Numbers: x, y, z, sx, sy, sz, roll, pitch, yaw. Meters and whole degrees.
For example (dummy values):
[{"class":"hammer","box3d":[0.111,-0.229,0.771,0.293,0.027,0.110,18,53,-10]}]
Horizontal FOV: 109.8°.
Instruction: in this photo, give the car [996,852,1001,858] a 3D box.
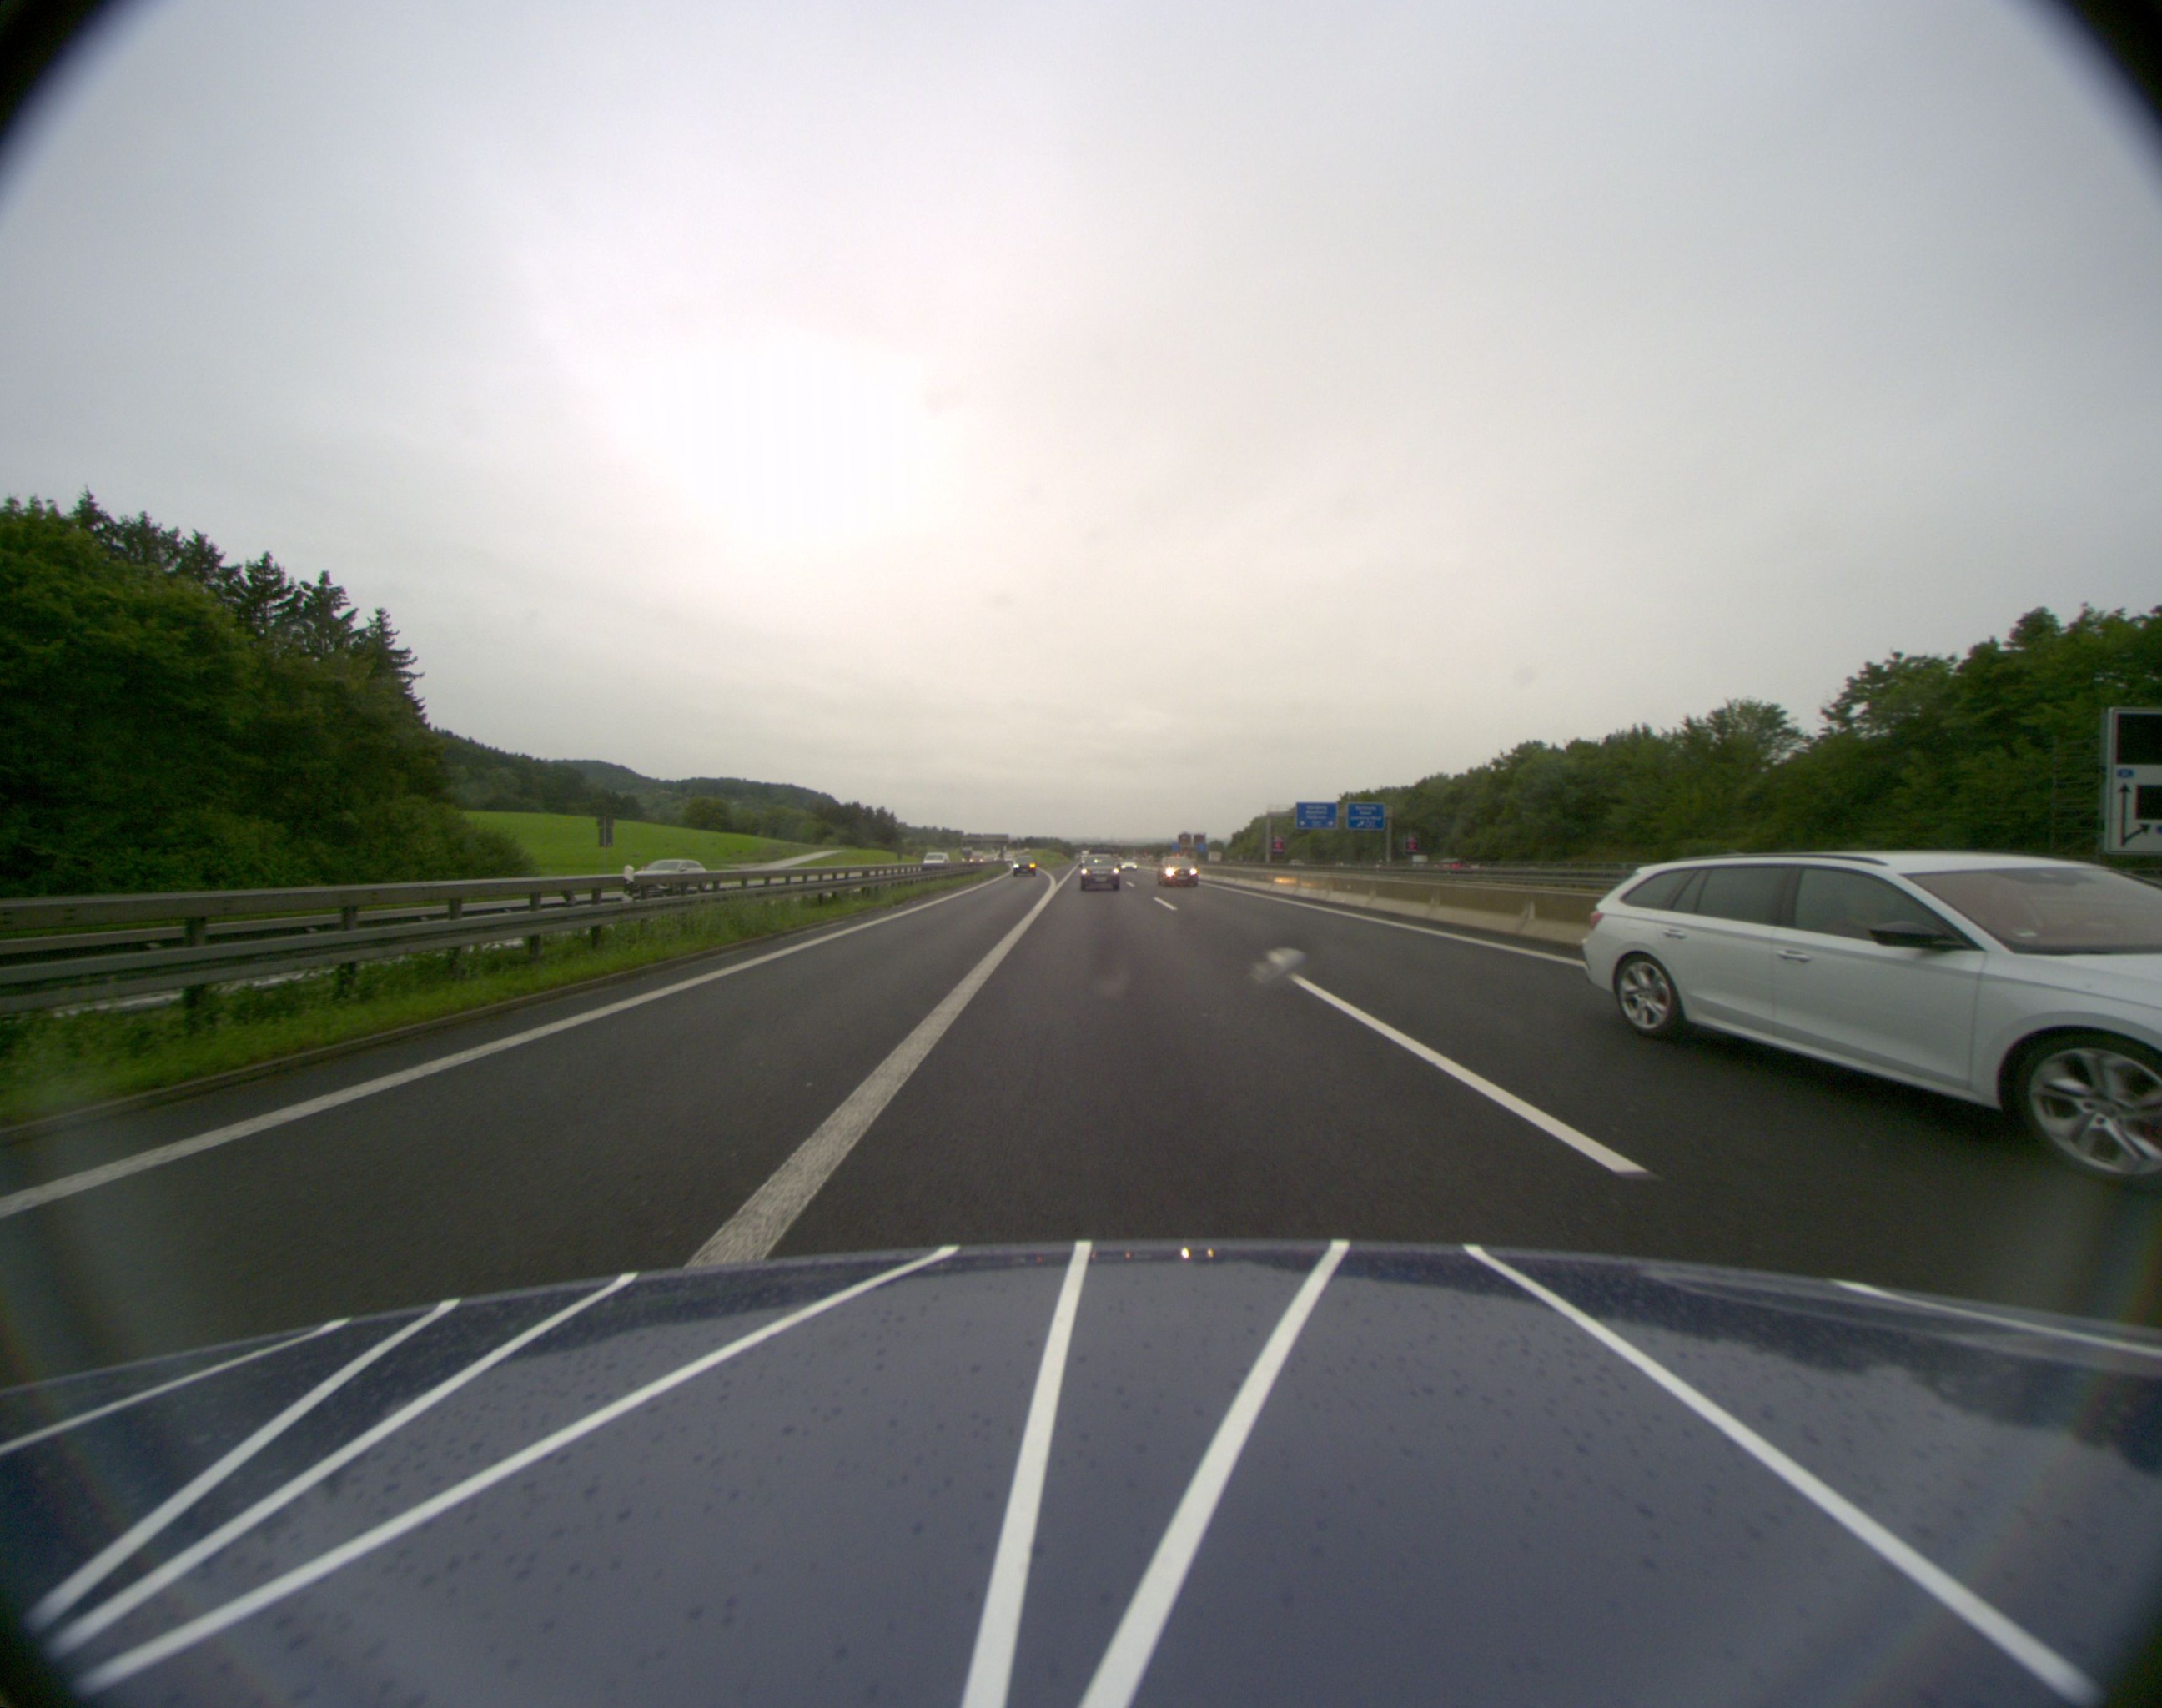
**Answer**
[{"class":"car","box3d":[-27.909,0.358,257.183,1.753,2.002,4.495,-1,1,-6]}]

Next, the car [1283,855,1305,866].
[{"class":"car","box3d":[29.229,0.866,104.309,1.823,1.448,4.268,-1,1,-1]}]

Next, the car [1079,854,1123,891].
[{"class":"car","box3d":[0.895,0.841,35.642,1.813,1.571,3.834,-1,1,-2]}]

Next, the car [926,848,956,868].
[{"class":"car","box3d":[-12.314,0.332,66.917,1.914,1.684,4.717,-1,1,-2]}]

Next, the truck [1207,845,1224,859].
[{"class":"truck","box3d":[38.167,-0.504,215.754,3.082,3.856,9.634,-1,1,1]}]

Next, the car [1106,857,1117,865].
[{"class":"car","box3d":[5.561,1.252,137.046,1.726,1.481,4.566,-1,1,-1]}]

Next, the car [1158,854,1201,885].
[{"class":"car","box3d":[5.052,0.765,39.404,1.725,1.481,4.567,-1,1,1]}]

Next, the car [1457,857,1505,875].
[{"class":"car","box3d":[36.781,1.077,70.048,1.823,1.448,4.777,-1,1,-1]}]

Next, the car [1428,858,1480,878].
[{"class":"car","box3d":[30.345,1.132,61.964,1.823,1.448,4.567,-1,1,-2]}]

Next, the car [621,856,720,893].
[{"class":"car","box3d":[-18.243,0.854,34.063,1.904,1.446,4.709,-1,1,-1]}]

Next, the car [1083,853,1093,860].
[{"class":"car","box3d":[1.535,0.566,162.208,1.919,1.481,4.566,-1,1,-1]}]

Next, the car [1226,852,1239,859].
[{"class":"car","box3d":[33.445,0.265,168.036,1.823,1.484,4.474,-1,1,-1]}]

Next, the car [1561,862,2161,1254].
[{"class":"car","box3d":[5.224,0.837,4.496,1.823,1.448,4.777,-1,1,1]}]

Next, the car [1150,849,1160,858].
[{"class":"car","box3d":[17.646,-0.115,180.744,1.998,2.002,4.982,-1,1,0]}]

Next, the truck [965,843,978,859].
[{"class":"truck","box3d":[-28.001,-0.764,194.653,2.800,3.878,10.022,-1,1,-5]}]

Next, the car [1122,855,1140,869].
[{"class":"car","box3d":[5.656,0.879,86.641,1.726,1.481,4.566,-1,1,0]}]

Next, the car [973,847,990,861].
[{"class":"car","box3d":[-15.200,0.014,116.439,2.130,2.002,5.075,-1,1,-2]}]

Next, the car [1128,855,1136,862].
[{"class":"car","box3d":[14.955,1.377,221.727,1.998,2.002,4.982,-1,1,0]}]

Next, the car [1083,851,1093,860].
[{"class":"car","box3d":[1.605,0.262,168.651,2.016,1.994,4.566,-1,1,-1]}]

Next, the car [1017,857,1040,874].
[{"class":"car","box3d":[-4.568,0.965,66.417,1.867,1.349,4.565,-1,1,-3]}]
